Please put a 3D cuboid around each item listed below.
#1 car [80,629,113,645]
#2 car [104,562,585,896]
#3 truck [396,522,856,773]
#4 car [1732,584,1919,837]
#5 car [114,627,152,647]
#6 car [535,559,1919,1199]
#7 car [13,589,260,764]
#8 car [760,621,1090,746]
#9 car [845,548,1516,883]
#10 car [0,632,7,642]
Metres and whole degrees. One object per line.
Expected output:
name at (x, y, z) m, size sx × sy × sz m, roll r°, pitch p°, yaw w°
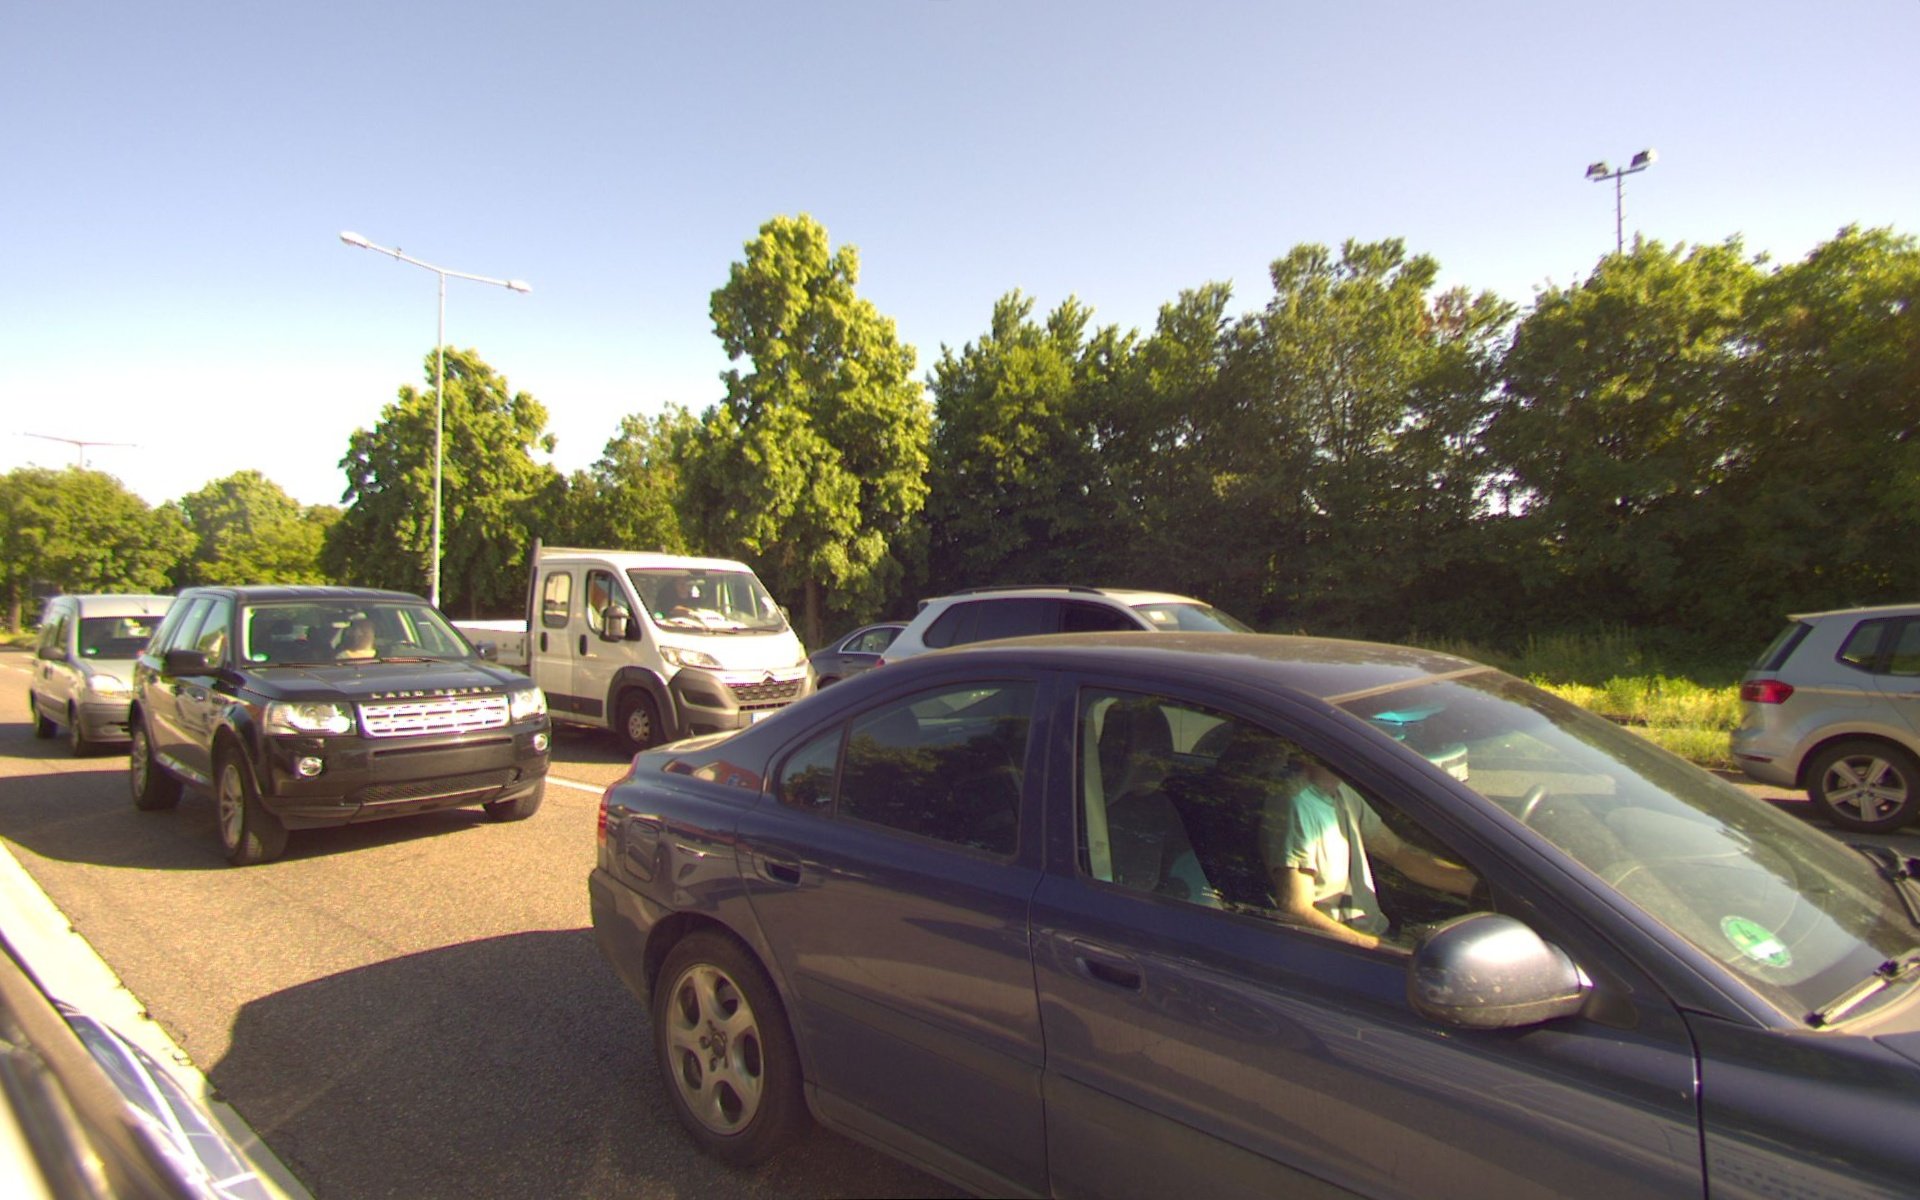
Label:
car at (-82.377, 3.525, 96.543) m, size 3.998 × 1.428 × 1.769 m, roll -2°, pitch -3°, yaw 41°
car at (-4.694, 0.698, 7.425) m, size 4.384 × 1.744 × 1.793 m, roll -1°, pitch -1°, yaw 41°
truck at (-4.437, 0.474, 12.483) m, size 6.838 × 2.337 × 2.158 m, roll -1°, pitch -1°, yaw 40°
car at (7.632, 0.713, 6.418) m, size 4.206 × 1.623 × 1.810 m, roll -2°, pitch -3°, yaw 42°
car at (-68.886, 3.073, 84.309) m, size 3.998 × 1.697 × 1.769 m, roll -2°, pitch -3°, yaw 41°
car at (0.892, 0.687, 2.430) m, size 4.454 × 1.463 × 1.757 m, roll -1°, pitch 0°, yaw 41°
car at (-10.051, 0.792, 12.227) m, size 4.384 × 1.765 × 1.611 m, roll -1°, pitch -1°, yaw 41°
car at (-0.587, 1.022, 13.719) m, size 4.382 × 1.401 × 1.793 m, roll -1°, pitch -3°, yaw 40°
car at (1.381, 0.669, 7.434) m, size 4.422 × 1.723 × 1.973 m, roll -2°, pitch -3°, yaw 41°
car at (-137.666, 5.221, 144.603) m, size 3.998 × 1.428 × 1.769 m, roll -2°, pitch -3°, yaw 41°
